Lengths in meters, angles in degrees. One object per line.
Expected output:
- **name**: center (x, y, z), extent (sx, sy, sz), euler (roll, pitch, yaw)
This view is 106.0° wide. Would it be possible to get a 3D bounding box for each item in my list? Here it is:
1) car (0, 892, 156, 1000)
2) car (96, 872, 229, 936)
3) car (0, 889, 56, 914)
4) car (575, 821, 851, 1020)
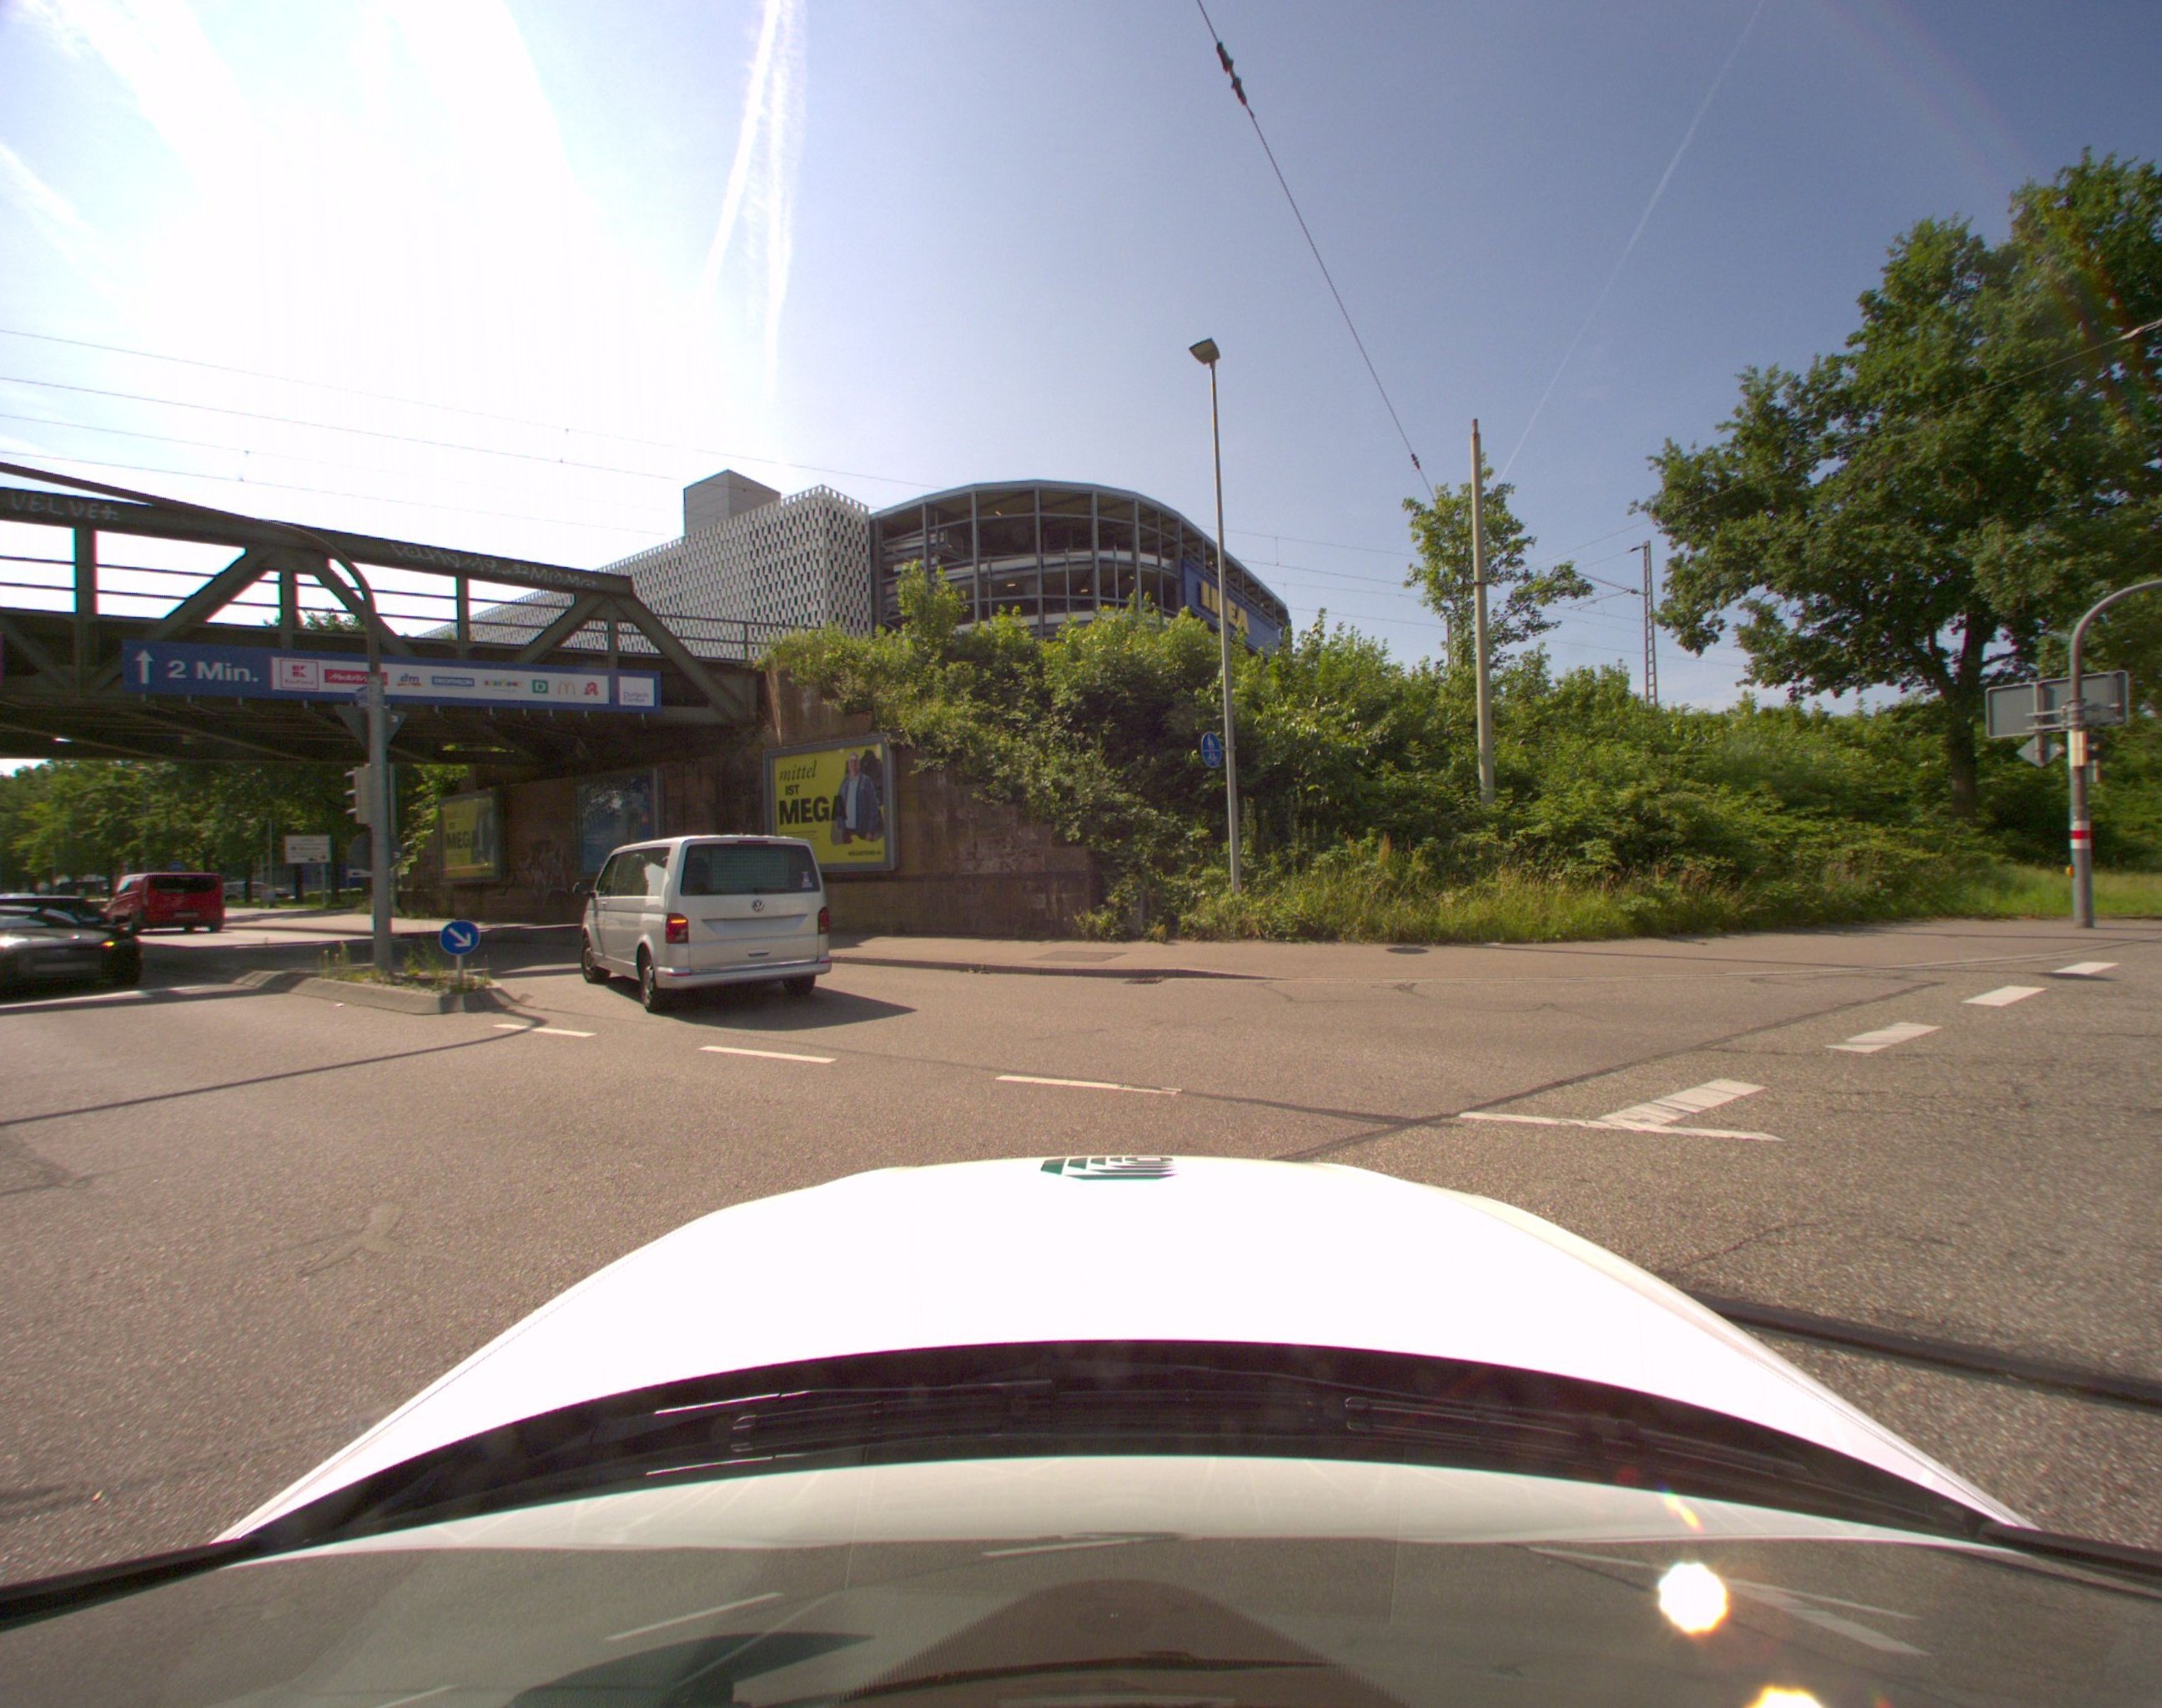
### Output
- **car**: center (-16.217, 1.346, 12.518), extent (4.279, 1.395, 1.782), euler (-2, -1, 29)
- **car**: center (-30.394, 1.620, 26.924), extent (4.502, 1.925, 1.987), euler (-2, -1, 29)
- **car**: center (-64.693, 2.891, 49.820), extent (4.270, 1.397, 1.803), euler (-2, -1, 29)
- **car**: center (-5.013, 0.742, 10.620), extent (1.958, 1.971, 4.962), euler (-1, -2, -40)
